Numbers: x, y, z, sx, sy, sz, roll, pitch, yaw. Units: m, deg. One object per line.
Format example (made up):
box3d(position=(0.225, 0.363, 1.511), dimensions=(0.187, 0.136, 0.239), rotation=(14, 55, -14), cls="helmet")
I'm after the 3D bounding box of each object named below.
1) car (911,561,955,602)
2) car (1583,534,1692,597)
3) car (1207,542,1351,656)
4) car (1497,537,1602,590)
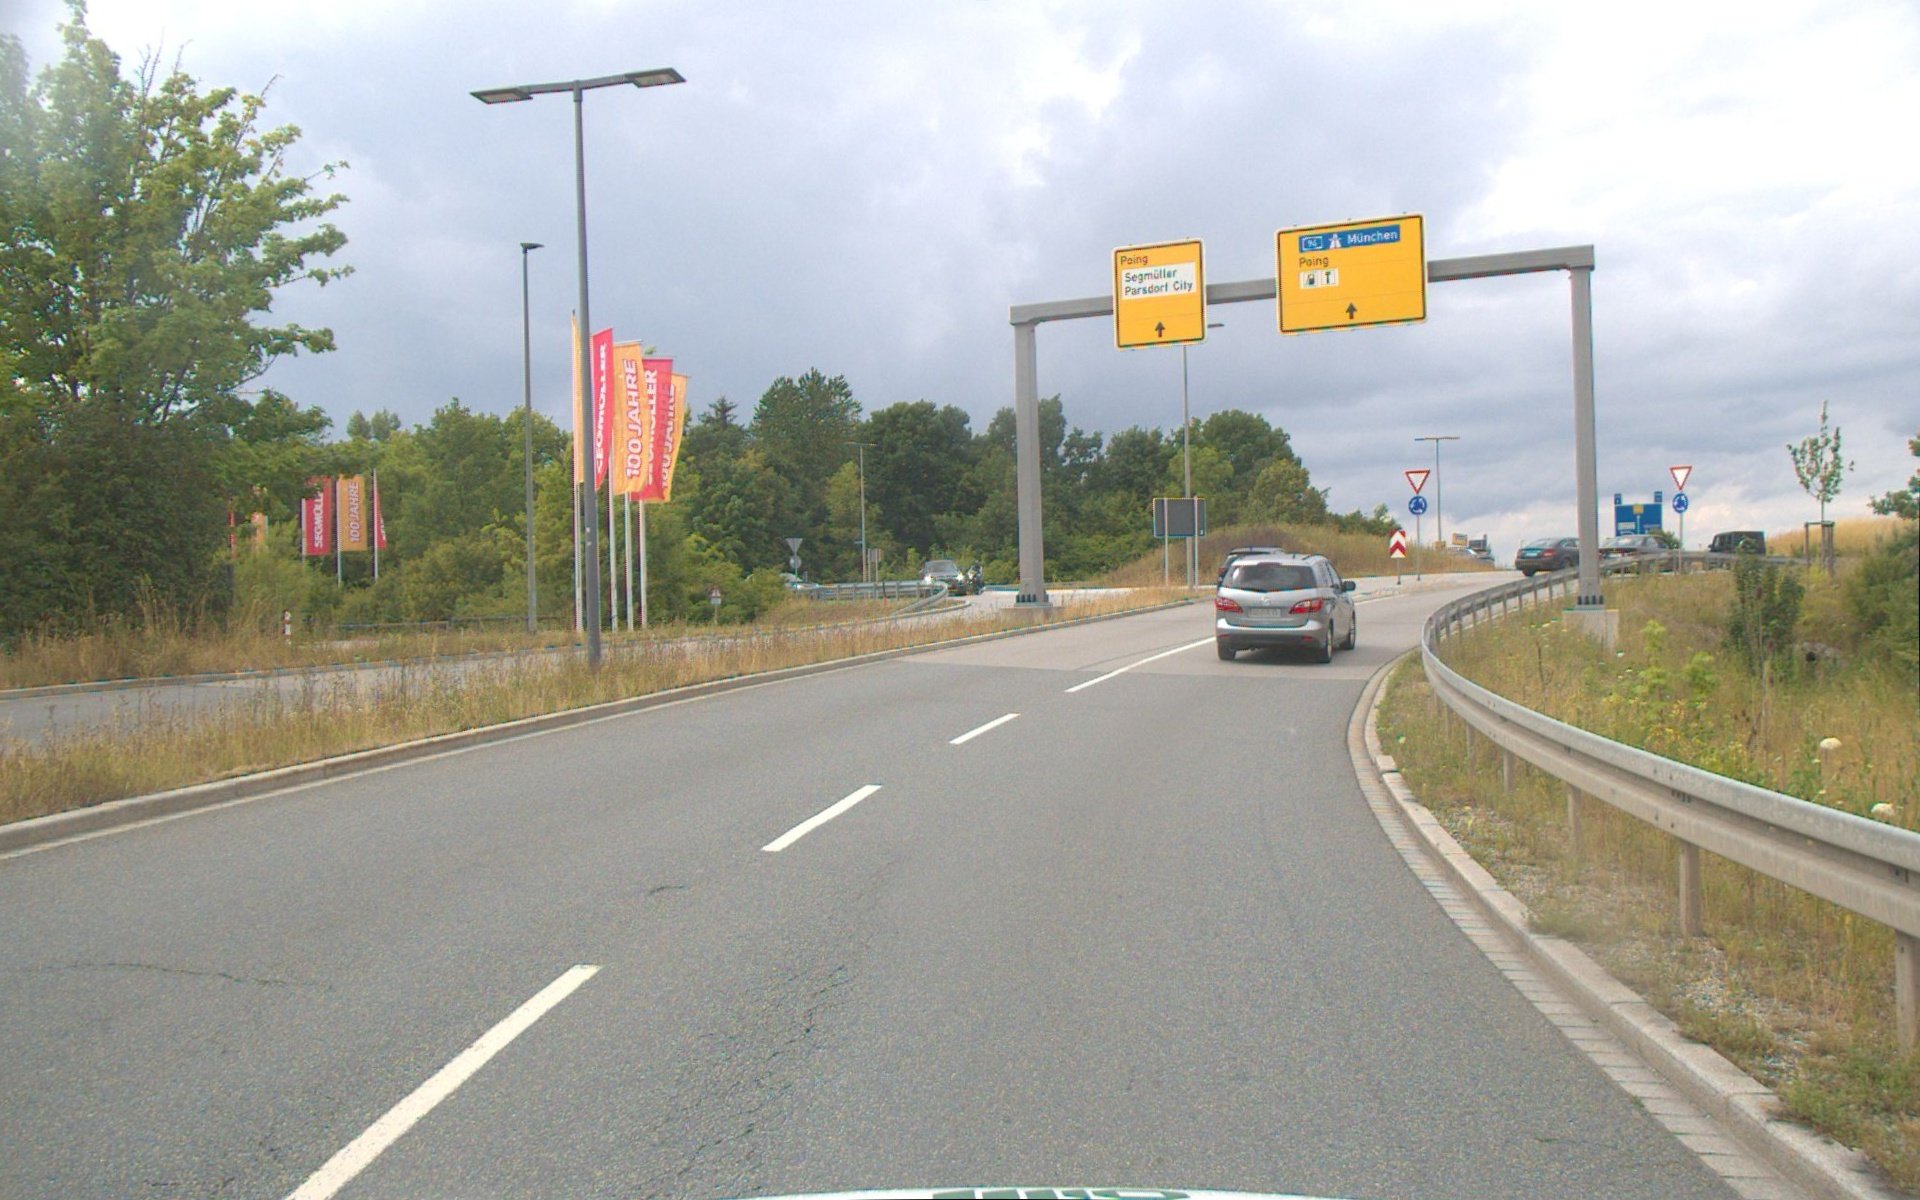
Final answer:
box3d(position=(-1.191, -0.777, 71.376), dimensions=(1.816, 1.694, 4.161), rotation=(0, 0, -2), cls="car")
box3d(position=(21.583, -1.126, 52.629), dimensions=(3.924, 1.870, 1.633), rotation=(-3, 1, -42), cls="car")
box3d(position=(5.149, -0.063, 26.320), dimensions=(1.730, 1.644, 3.924), rotation=(-1, 2, 18), cls="car")
box3d(position=(21.958, -1.360, 61.549), dimensions=(4.119, 1.814, 1.874), rotation=(-3, 1, -40), cls="car")
